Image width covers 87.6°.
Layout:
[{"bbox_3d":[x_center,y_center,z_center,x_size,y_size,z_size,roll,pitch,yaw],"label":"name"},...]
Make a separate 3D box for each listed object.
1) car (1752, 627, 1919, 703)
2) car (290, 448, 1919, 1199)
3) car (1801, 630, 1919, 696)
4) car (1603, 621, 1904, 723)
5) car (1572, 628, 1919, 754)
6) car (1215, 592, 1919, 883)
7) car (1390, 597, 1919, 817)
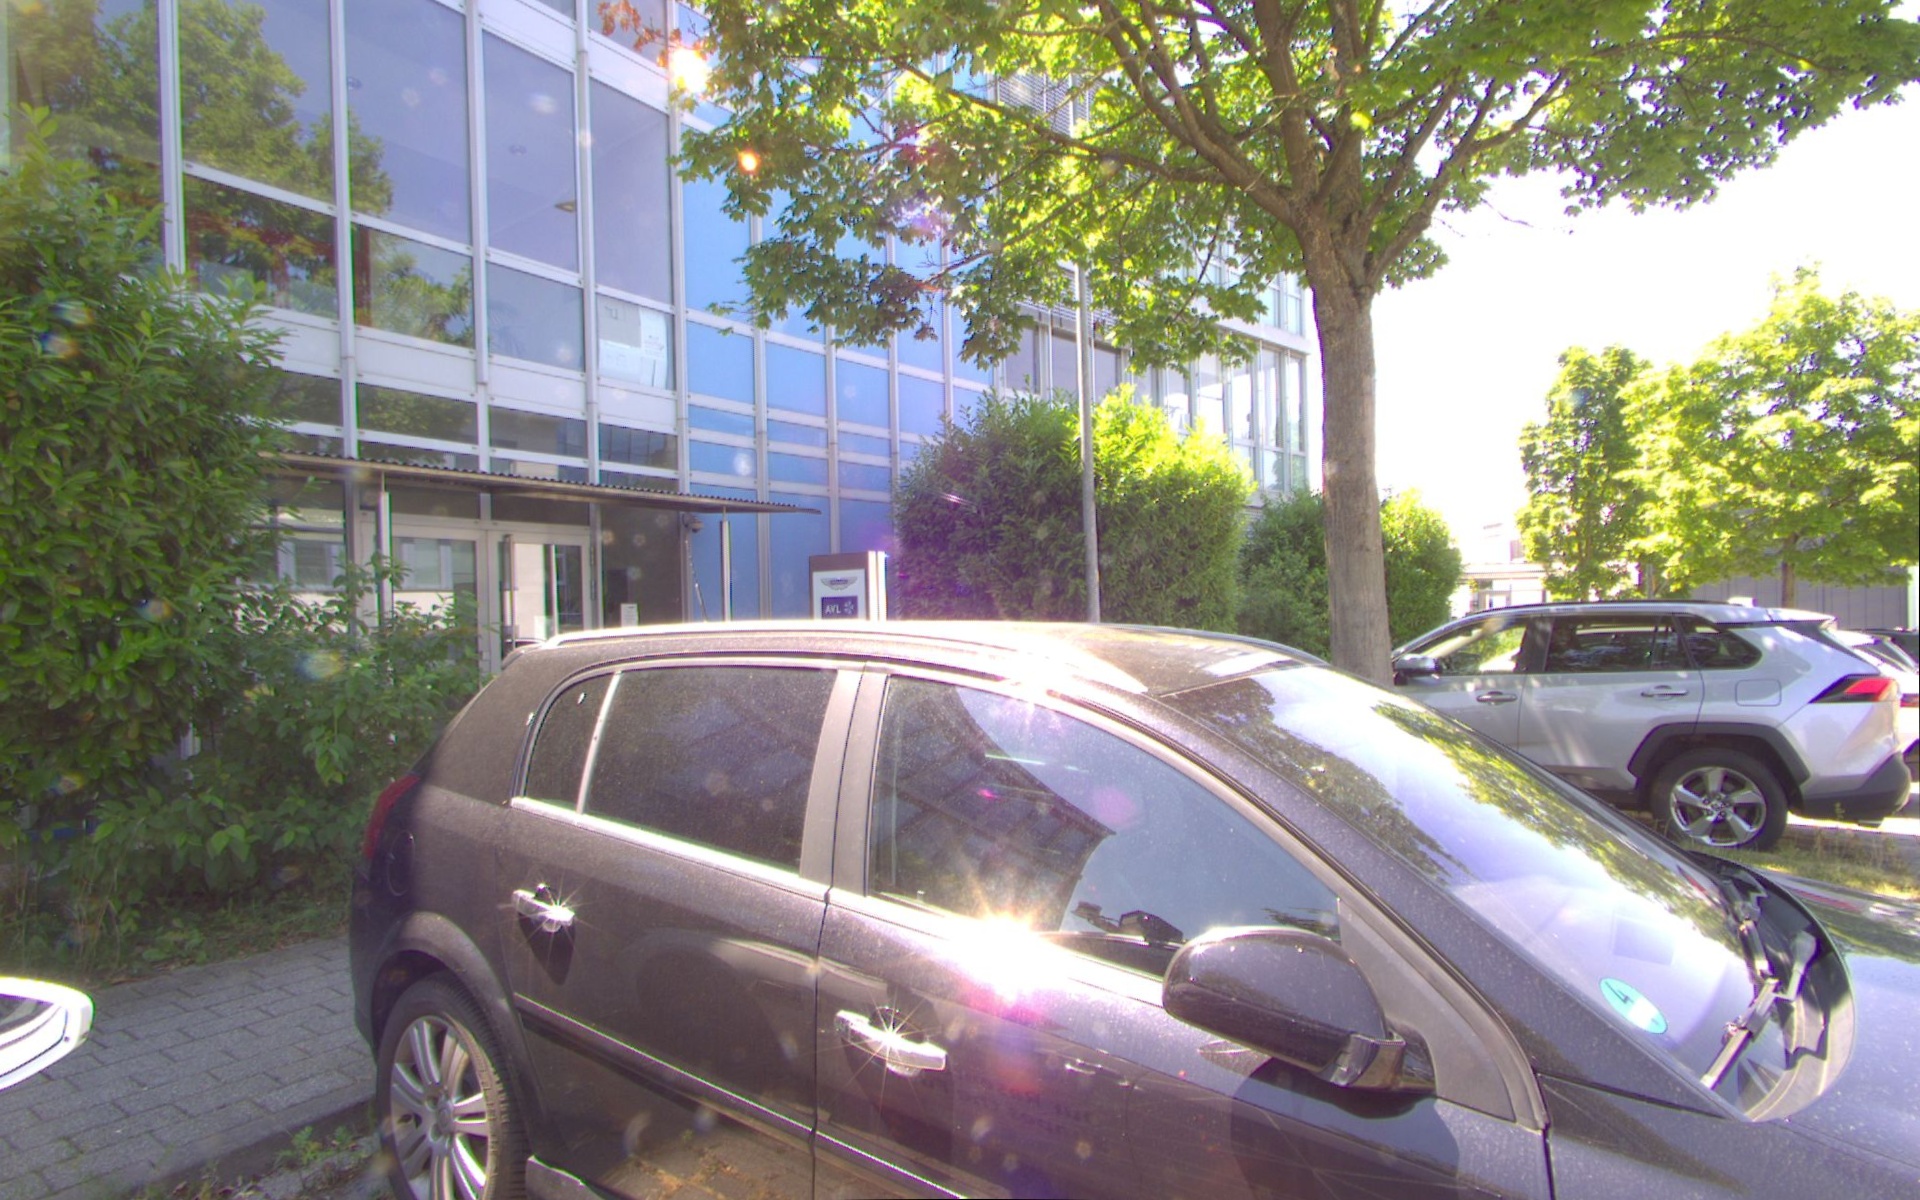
[{"bbox_3d":[20.194,1.413,22.393,1.614,1.545,3.566,1,-1,-34],"label":"car"},{"bbox_3d":[0.461,0.698,2.153,4.506,1.569,1.753,-1,-2,36],"label":"car"},{"bbox_3d":[22.263,1.475,23.511,1.614,1.462,3.566,1,-1,-34],"label":"car"},{"bbox_3d":[14.669,1.245,18.721,1.641,1.626,4.145,1,-1,-38],"label":"car"},{"bbox_3d":[11.409,1.197,14.448,1.645,1.505,4.136,2,-1,-44],"label":"car"},{"bbox_3d":[4.380,0.799,7.786,4.278,1.664,1.844,0,-1,39],"label":"car"},{"bbox_3d":[6.453,0.835,9.399,4.150,1.664,1.649,0,-1,39],"label":"car"}]
